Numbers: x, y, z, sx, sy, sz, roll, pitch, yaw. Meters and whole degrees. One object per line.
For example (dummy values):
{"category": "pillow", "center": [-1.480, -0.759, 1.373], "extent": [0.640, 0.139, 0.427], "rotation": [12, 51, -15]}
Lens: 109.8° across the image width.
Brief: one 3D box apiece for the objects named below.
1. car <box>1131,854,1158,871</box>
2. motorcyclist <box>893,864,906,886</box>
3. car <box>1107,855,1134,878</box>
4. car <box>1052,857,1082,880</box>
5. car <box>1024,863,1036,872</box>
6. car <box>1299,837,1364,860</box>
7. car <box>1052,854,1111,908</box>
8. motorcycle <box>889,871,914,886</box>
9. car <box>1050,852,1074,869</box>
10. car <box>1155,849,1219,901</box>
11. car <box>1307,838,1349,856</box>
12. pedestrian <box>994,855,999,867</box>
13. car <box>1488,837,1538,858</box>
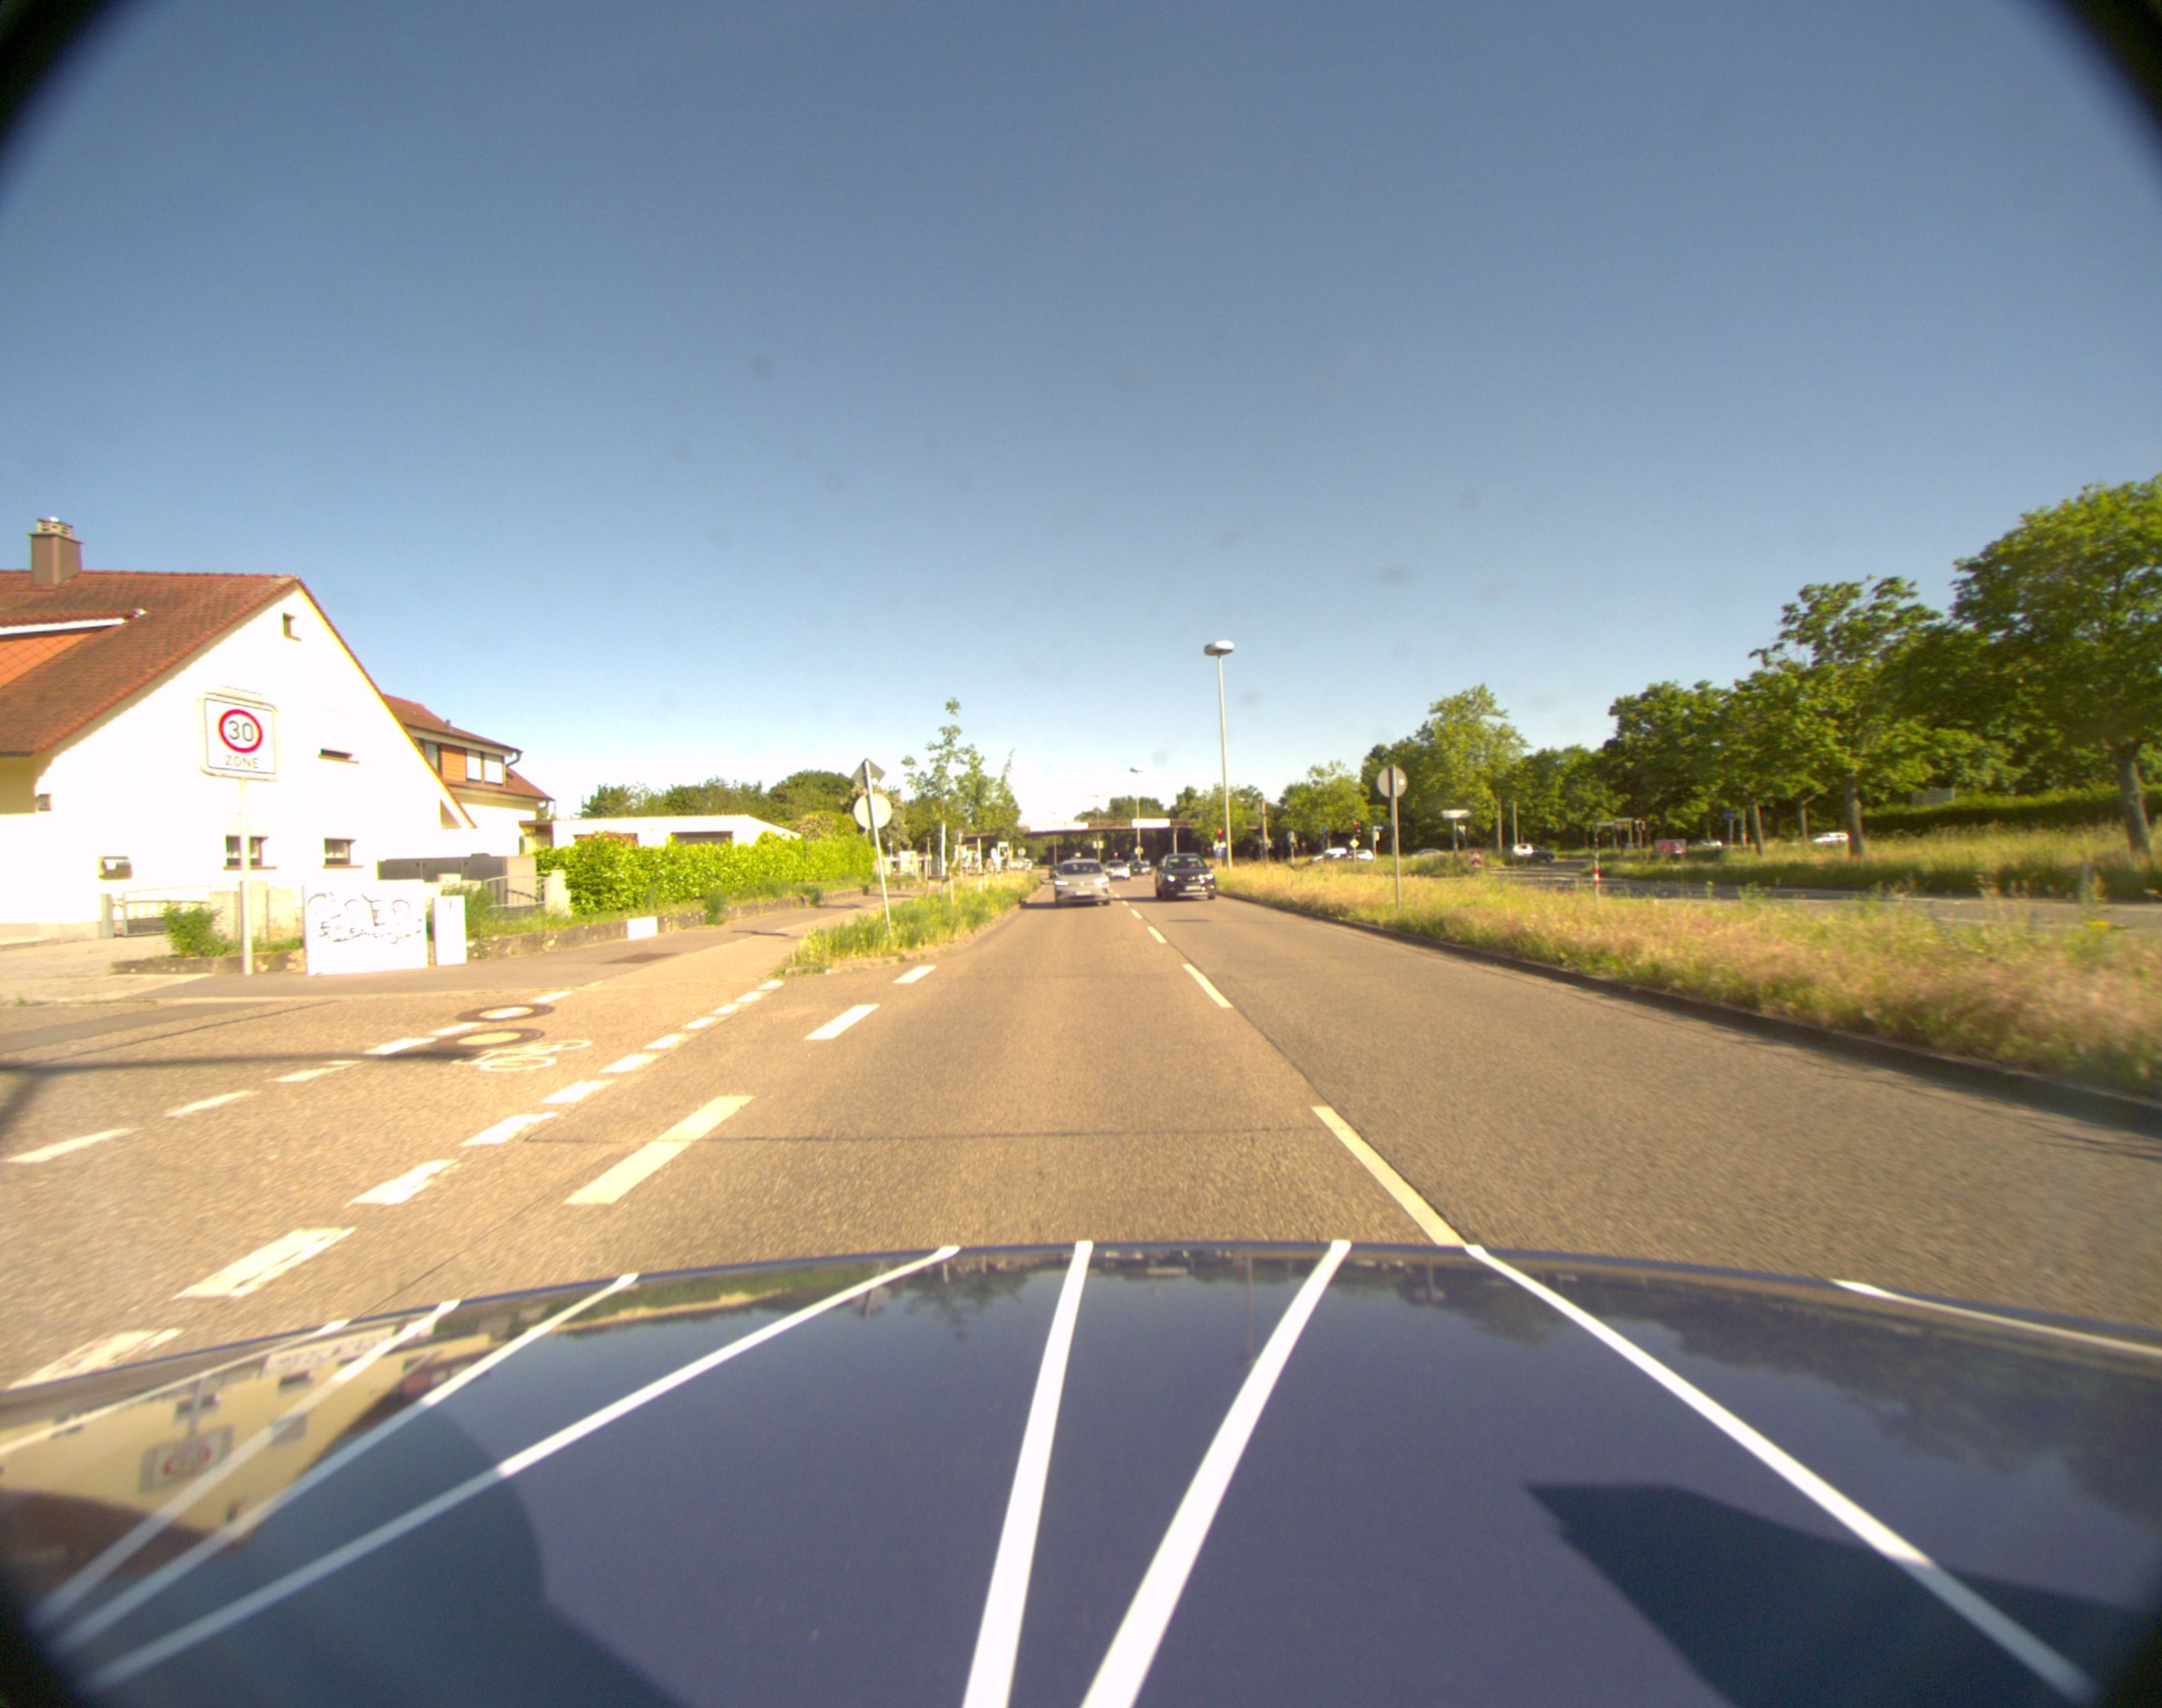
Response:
{"category": "car", "center": [6.236, 0.801, 74.005], "extent": [1.793, 1.487, 4.006], "rotation": [-2, 0, 17]}
{"category": "motorcyclist", "center": [-13.341, 1.540, 55.860], "extent": [0.695, 1.549, 0.700], "rotation": [-1, 1, 0]}
{"category": "car", "center": [3.027, 0.963, 58.837], "extent": [1.830, 1.604, 4.092], "rotation": [-3, 0, 0]}
{"category": "car", "center": [-1.136, 1.130, 60.183], "extent": [1.874, 1.611, 3.833], "rotation": [-3, 0, -8]}
{"category": "car", "center": [-9.340, 2.488, 138.778], "extent": [1.875, 1.611, 3.833], "rotation": [0, 1, -8]}
{"category": "car", "center": [20.190, -0.449, 61.406], "extent": [4.526, 1.477, 1.780], "rotation": [-4, -2, 0]}
{"category": "car", "center": [0.080, 0.889, 26.949], "extent": [1.801, 1.664, 4.240], "rotation": [-4, 0, 2]}
{"category": "motorcycle", "center": [-13.201, 1.803, 55.880], "extent": [1.760, 1.065, 0.451], "rotation": [-1, 1, 0]}
{"category": "car", "center": [-1.934, 0.641, 76.048], "extent": [1.874, 1.611, 3.833], "rotation": [-3, 0, -8]}
{"category": "car", "center": [3.681, 0.684, 27.047], "extent": [1.714, 1.653, 3.856], "rotation": [-2, 0, 0]}
{"category": "car", "center": [26.979, -0.724, 83.052], "extent": [4.000, 1.744, 1.776], "rotation": [-3, 1, -8]}
{"category": "pedestrian", "center": [-11.178, 0.933, 100.445], "extent": [0.589, 1.652, 0.716], "rotation": [-2, 0, -9]}
{"category": "car", "center": [35.489, -0.519, 62.400], "extent": [4.394, 1.561, 1.843], "rotation": [-2, 0, -34]}
